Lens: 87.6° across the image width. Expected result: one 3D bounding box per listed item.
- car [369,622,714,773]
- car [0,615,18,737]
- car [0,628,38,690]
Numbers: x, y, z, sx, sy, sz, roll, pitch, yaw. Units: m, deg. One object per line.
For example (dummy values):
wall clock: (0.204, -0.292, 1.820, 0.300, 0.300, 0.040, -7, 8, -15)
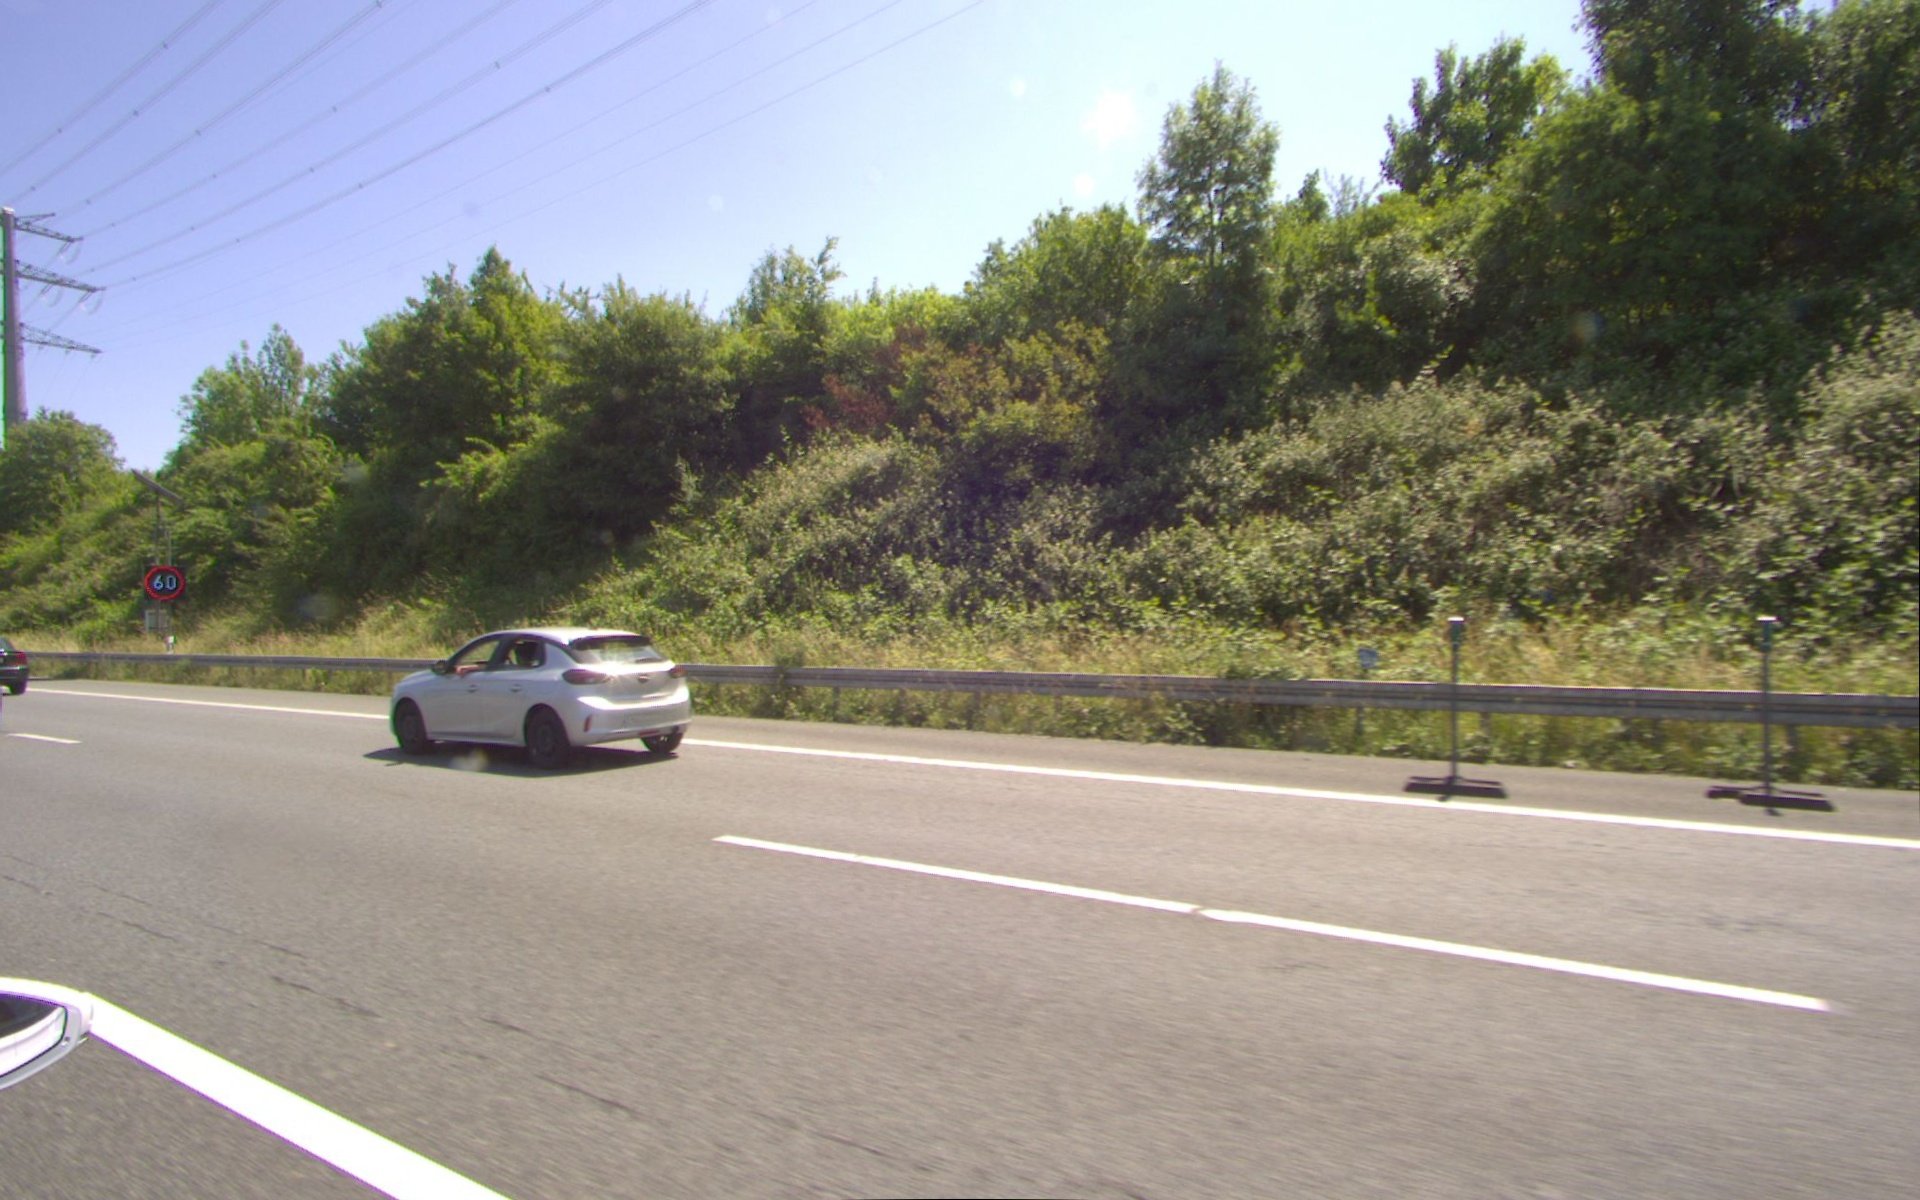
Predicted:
car: (-4.915, 1.004, 11.636, 3.956, 1.489, 1.738, -1, -1, 32)
car: (-15.169, 1.031, 13.995, 4.366, 1.635, 1.825, -1, -1, 31)
car: (-23.471, 1.350, 23.417, 4.240, 1.395, 1.732, -1, -2, 32)
